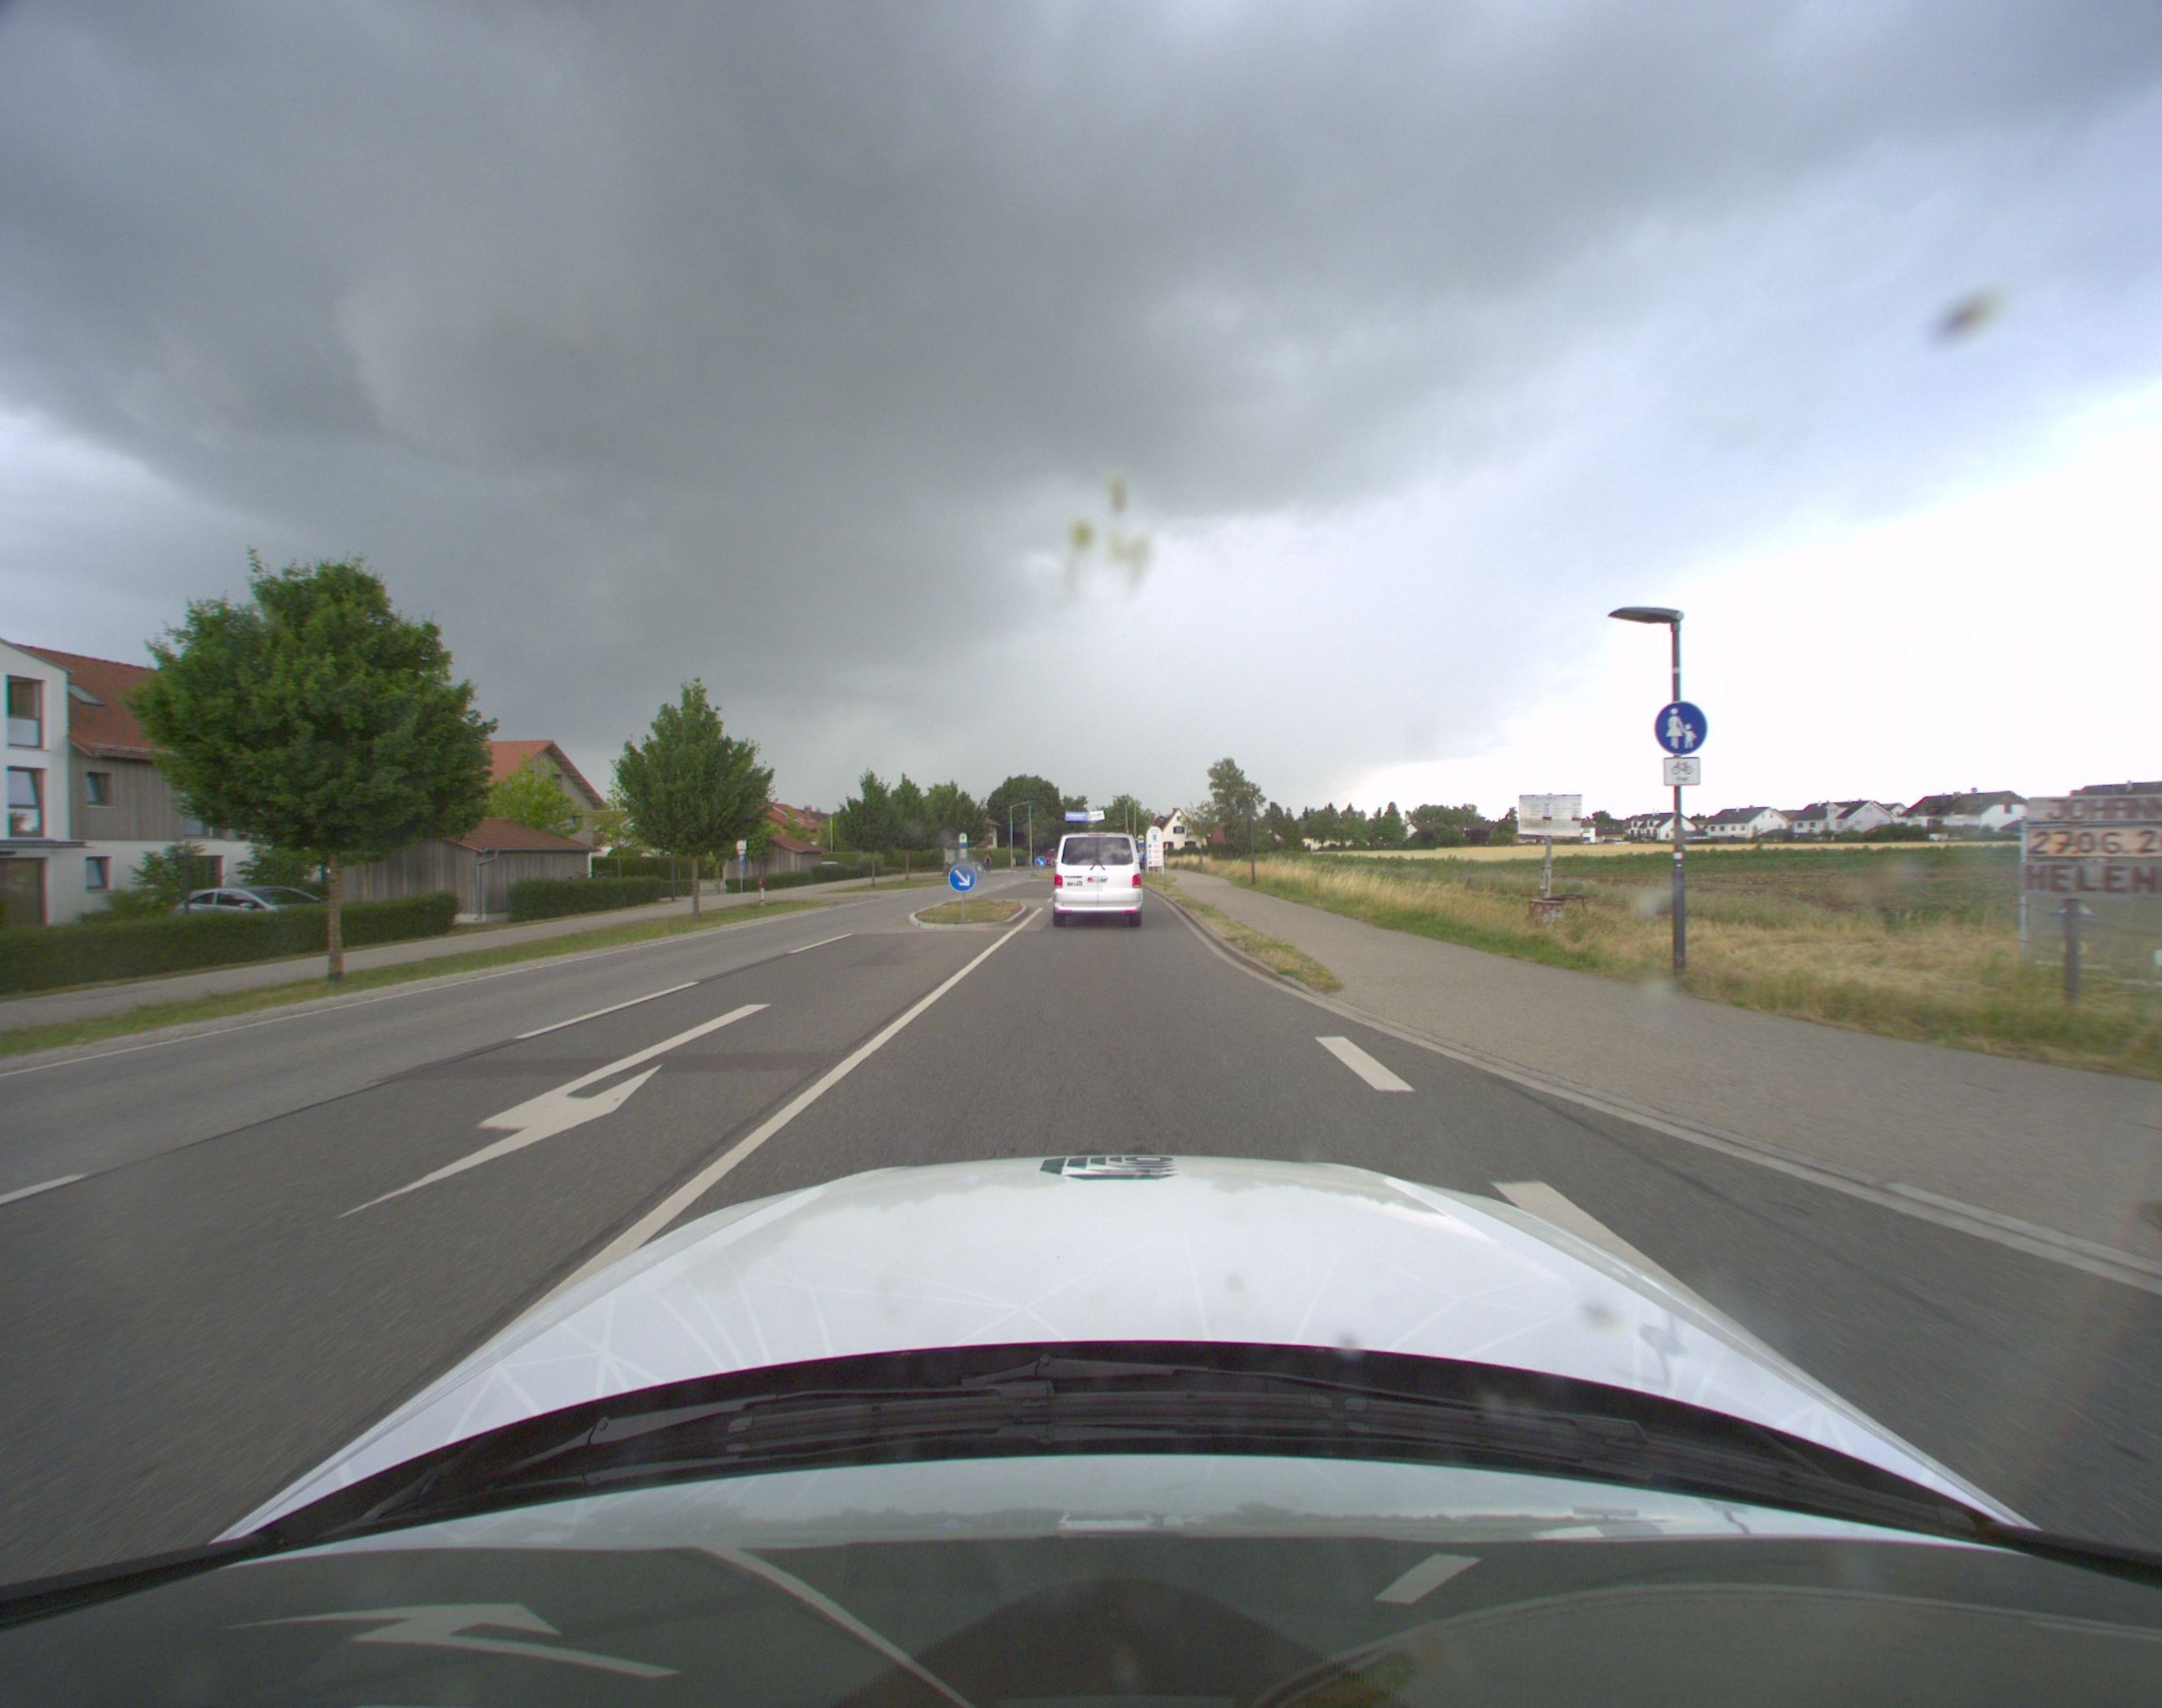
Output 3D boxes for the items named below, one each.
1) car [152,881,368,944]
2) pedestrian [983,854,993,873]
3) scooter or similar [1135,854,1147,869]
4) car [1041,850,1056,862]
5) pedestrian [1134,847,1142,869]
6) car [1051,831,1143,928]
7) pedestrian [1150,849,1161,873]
[{"bbox_3d":[-22.467,1.566,22.416,3.970,1.556,2.002,0,0,3],"label":"car"},{"bbox_3d":[-7.602,0.761,66.419,0.621,1.525,0.680,-3,0,1],"label":"pedestrian"},{"bbox_3d":[4.740,0.597,64.388,0.845,1.103,1.094,-3,0,2],"label":"scooter or similar"},{"bbox_3d":[-4.237,0.271,107.158,1.648,1.429,3.603,-3,0,1],"label":"car"},{"bbox_3d":[4.539,0.328,64.689,0.483,1.732,0.642,-3,0,1],"label":"pedestrian"},{"bbox_3d":[0.323,0.500,18.141,1.820,1.913,4.000,0,0,0],"label":"car"},{"bbox_3d":[5.381,0.491,58.727,0.487,1.732,0.637,-3,0,-24],"label":"pedestrian"}]
